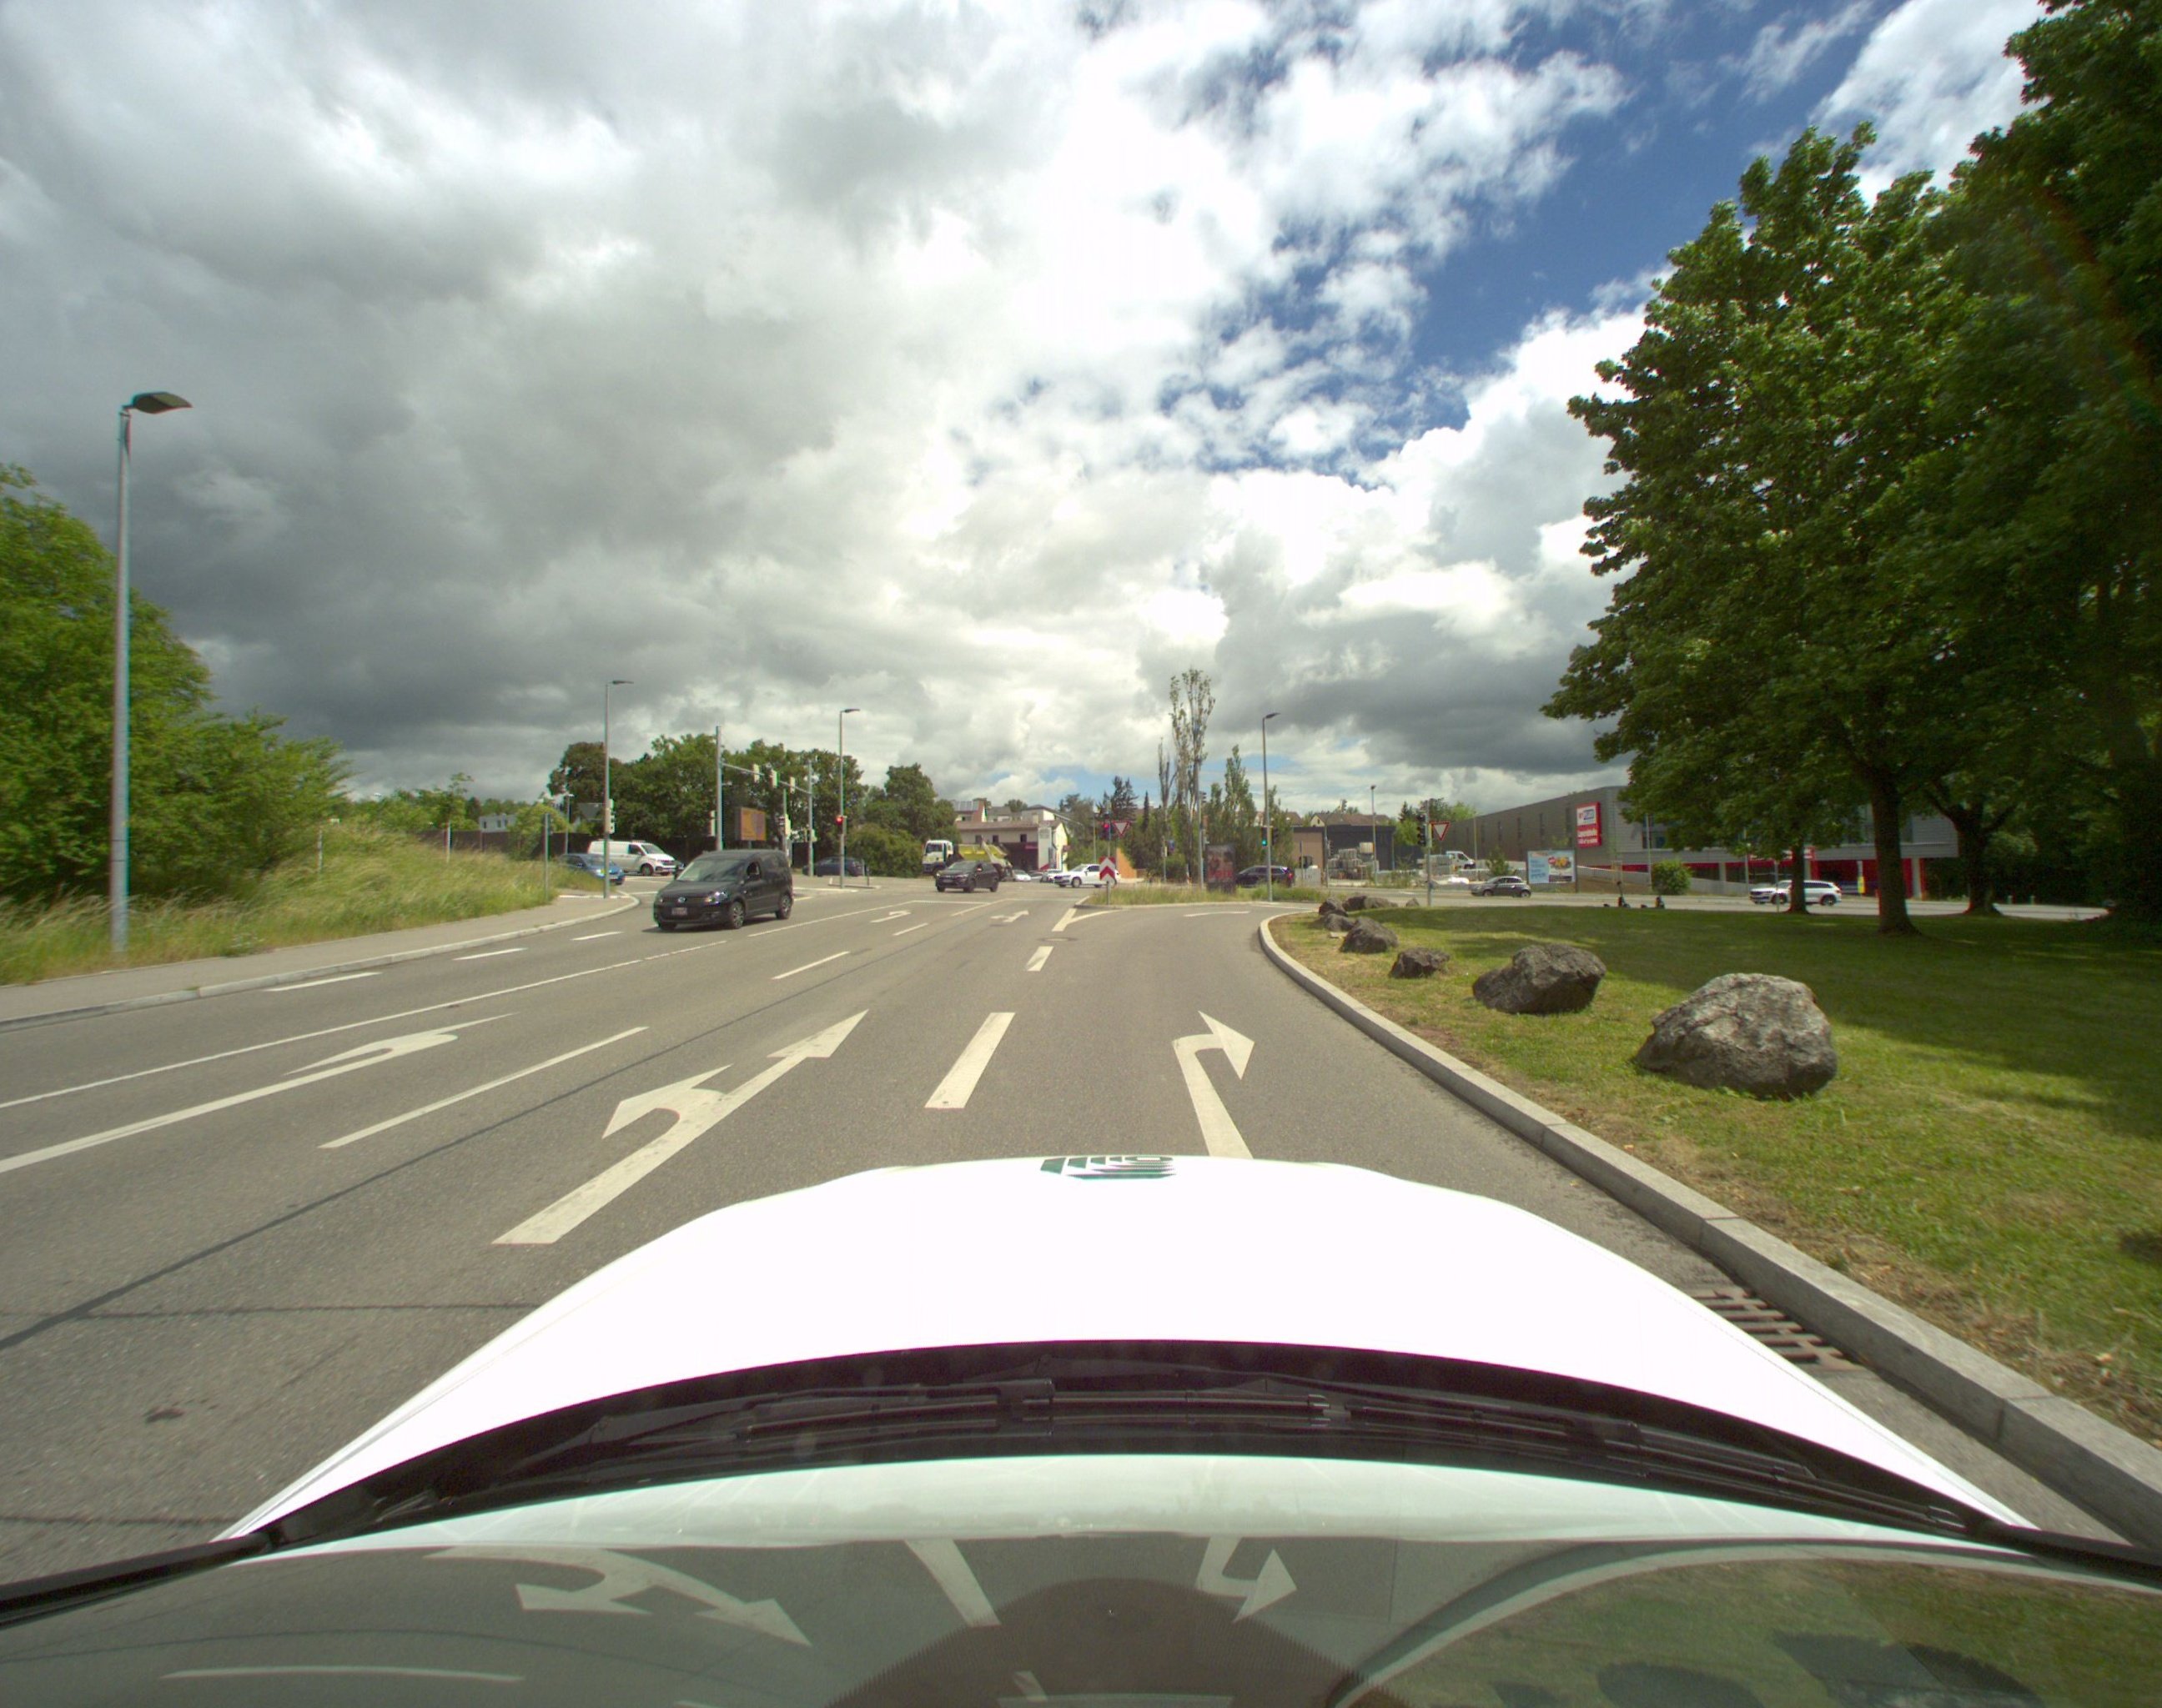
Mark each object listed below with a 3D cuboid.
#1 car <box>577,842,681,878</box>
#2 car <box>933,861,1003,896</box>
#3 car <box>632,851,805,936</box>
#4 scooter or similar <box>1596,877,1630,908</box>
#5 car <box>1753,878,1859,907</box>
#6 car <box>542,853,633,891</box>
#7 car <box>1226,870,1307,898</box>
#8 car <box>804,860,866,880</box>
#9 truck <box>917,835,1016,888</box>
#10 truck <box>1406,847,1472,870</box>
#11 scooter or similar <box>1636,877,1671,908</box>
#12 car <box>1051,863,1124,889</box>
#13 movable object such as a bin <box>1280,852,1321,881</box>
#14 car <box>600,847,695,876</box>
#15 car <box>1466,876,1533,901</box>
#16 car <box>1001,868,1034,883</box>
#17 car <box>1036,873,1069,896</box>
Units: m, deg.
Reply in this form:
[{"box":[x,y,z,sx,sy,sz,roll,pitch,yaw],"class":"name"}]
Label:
[{"box":[-26.360,0.357,47.560,4.935,1.937,1.912,2,-1,2],"class":"car"},{"box":[-5.392,1.128,39.390,1.771,1.578,4.182,-1,0,16],"class":"car"},{"box":[-8.463,0.830,19.586,1.777,1.778,4.815,-1,0,3],"class":"car"},{"box":[21.977,1.577,33.627,1.189,1.264,0.531,2,-3,-18],"class":"scooter or similar"},{"box":[45.071,2.357,50.722,4.860,1.658,1.736,1,-1,6],"class":"car"},{"box":[-23.911,0.840,39.427,4.391,1.637,1.922,1,-1,31],"class":"car"},{"box":[12.240,1.974,54.012,4.947,1.690,1.912,2,-1,2],"class":"car"},{"box":[-18.173,1.150,60.232,3.968,1.400,1.699,1,-1,5],"class":"car"},{"box":[-8.816,0.600,63.247,6.912,3.579,2.850,-3,-2,4],"class":"truck"},{"box":[39.754,0.534,90.560,6.503,2.146,2.010,-4,-2,20],"class":"truck"},{"box":[23.538,1.583,33.474,1.189,1.264,0.531,2,-3,-18],"class":"scooter or similar"},{"box":[0.432,1.390,50.861,4.393,1.469,1.606,2,0,-32],"class":"car"},{"box":[20.460,1.178,75.814,3.373,2.538,2.164,1,-1,24],"class":"movable object such as a bin"},{"box":[-27.348,0.472,51.448,4.935,1.635,1.912,2,-1,2],"class":"car"},{"box":[27.042,2.240,52.753,3.492,1.460,1.589,-2,-1,9],"class":"car"},{"box":[-6.176,2.100,78.752,1.701,1.400,3.962,2,-1,-30],"class":"car"},{"box":[-2.804,2.976,78.842,2.000,2.014,3.973,-3,-2,-20],"class":"car"}]
